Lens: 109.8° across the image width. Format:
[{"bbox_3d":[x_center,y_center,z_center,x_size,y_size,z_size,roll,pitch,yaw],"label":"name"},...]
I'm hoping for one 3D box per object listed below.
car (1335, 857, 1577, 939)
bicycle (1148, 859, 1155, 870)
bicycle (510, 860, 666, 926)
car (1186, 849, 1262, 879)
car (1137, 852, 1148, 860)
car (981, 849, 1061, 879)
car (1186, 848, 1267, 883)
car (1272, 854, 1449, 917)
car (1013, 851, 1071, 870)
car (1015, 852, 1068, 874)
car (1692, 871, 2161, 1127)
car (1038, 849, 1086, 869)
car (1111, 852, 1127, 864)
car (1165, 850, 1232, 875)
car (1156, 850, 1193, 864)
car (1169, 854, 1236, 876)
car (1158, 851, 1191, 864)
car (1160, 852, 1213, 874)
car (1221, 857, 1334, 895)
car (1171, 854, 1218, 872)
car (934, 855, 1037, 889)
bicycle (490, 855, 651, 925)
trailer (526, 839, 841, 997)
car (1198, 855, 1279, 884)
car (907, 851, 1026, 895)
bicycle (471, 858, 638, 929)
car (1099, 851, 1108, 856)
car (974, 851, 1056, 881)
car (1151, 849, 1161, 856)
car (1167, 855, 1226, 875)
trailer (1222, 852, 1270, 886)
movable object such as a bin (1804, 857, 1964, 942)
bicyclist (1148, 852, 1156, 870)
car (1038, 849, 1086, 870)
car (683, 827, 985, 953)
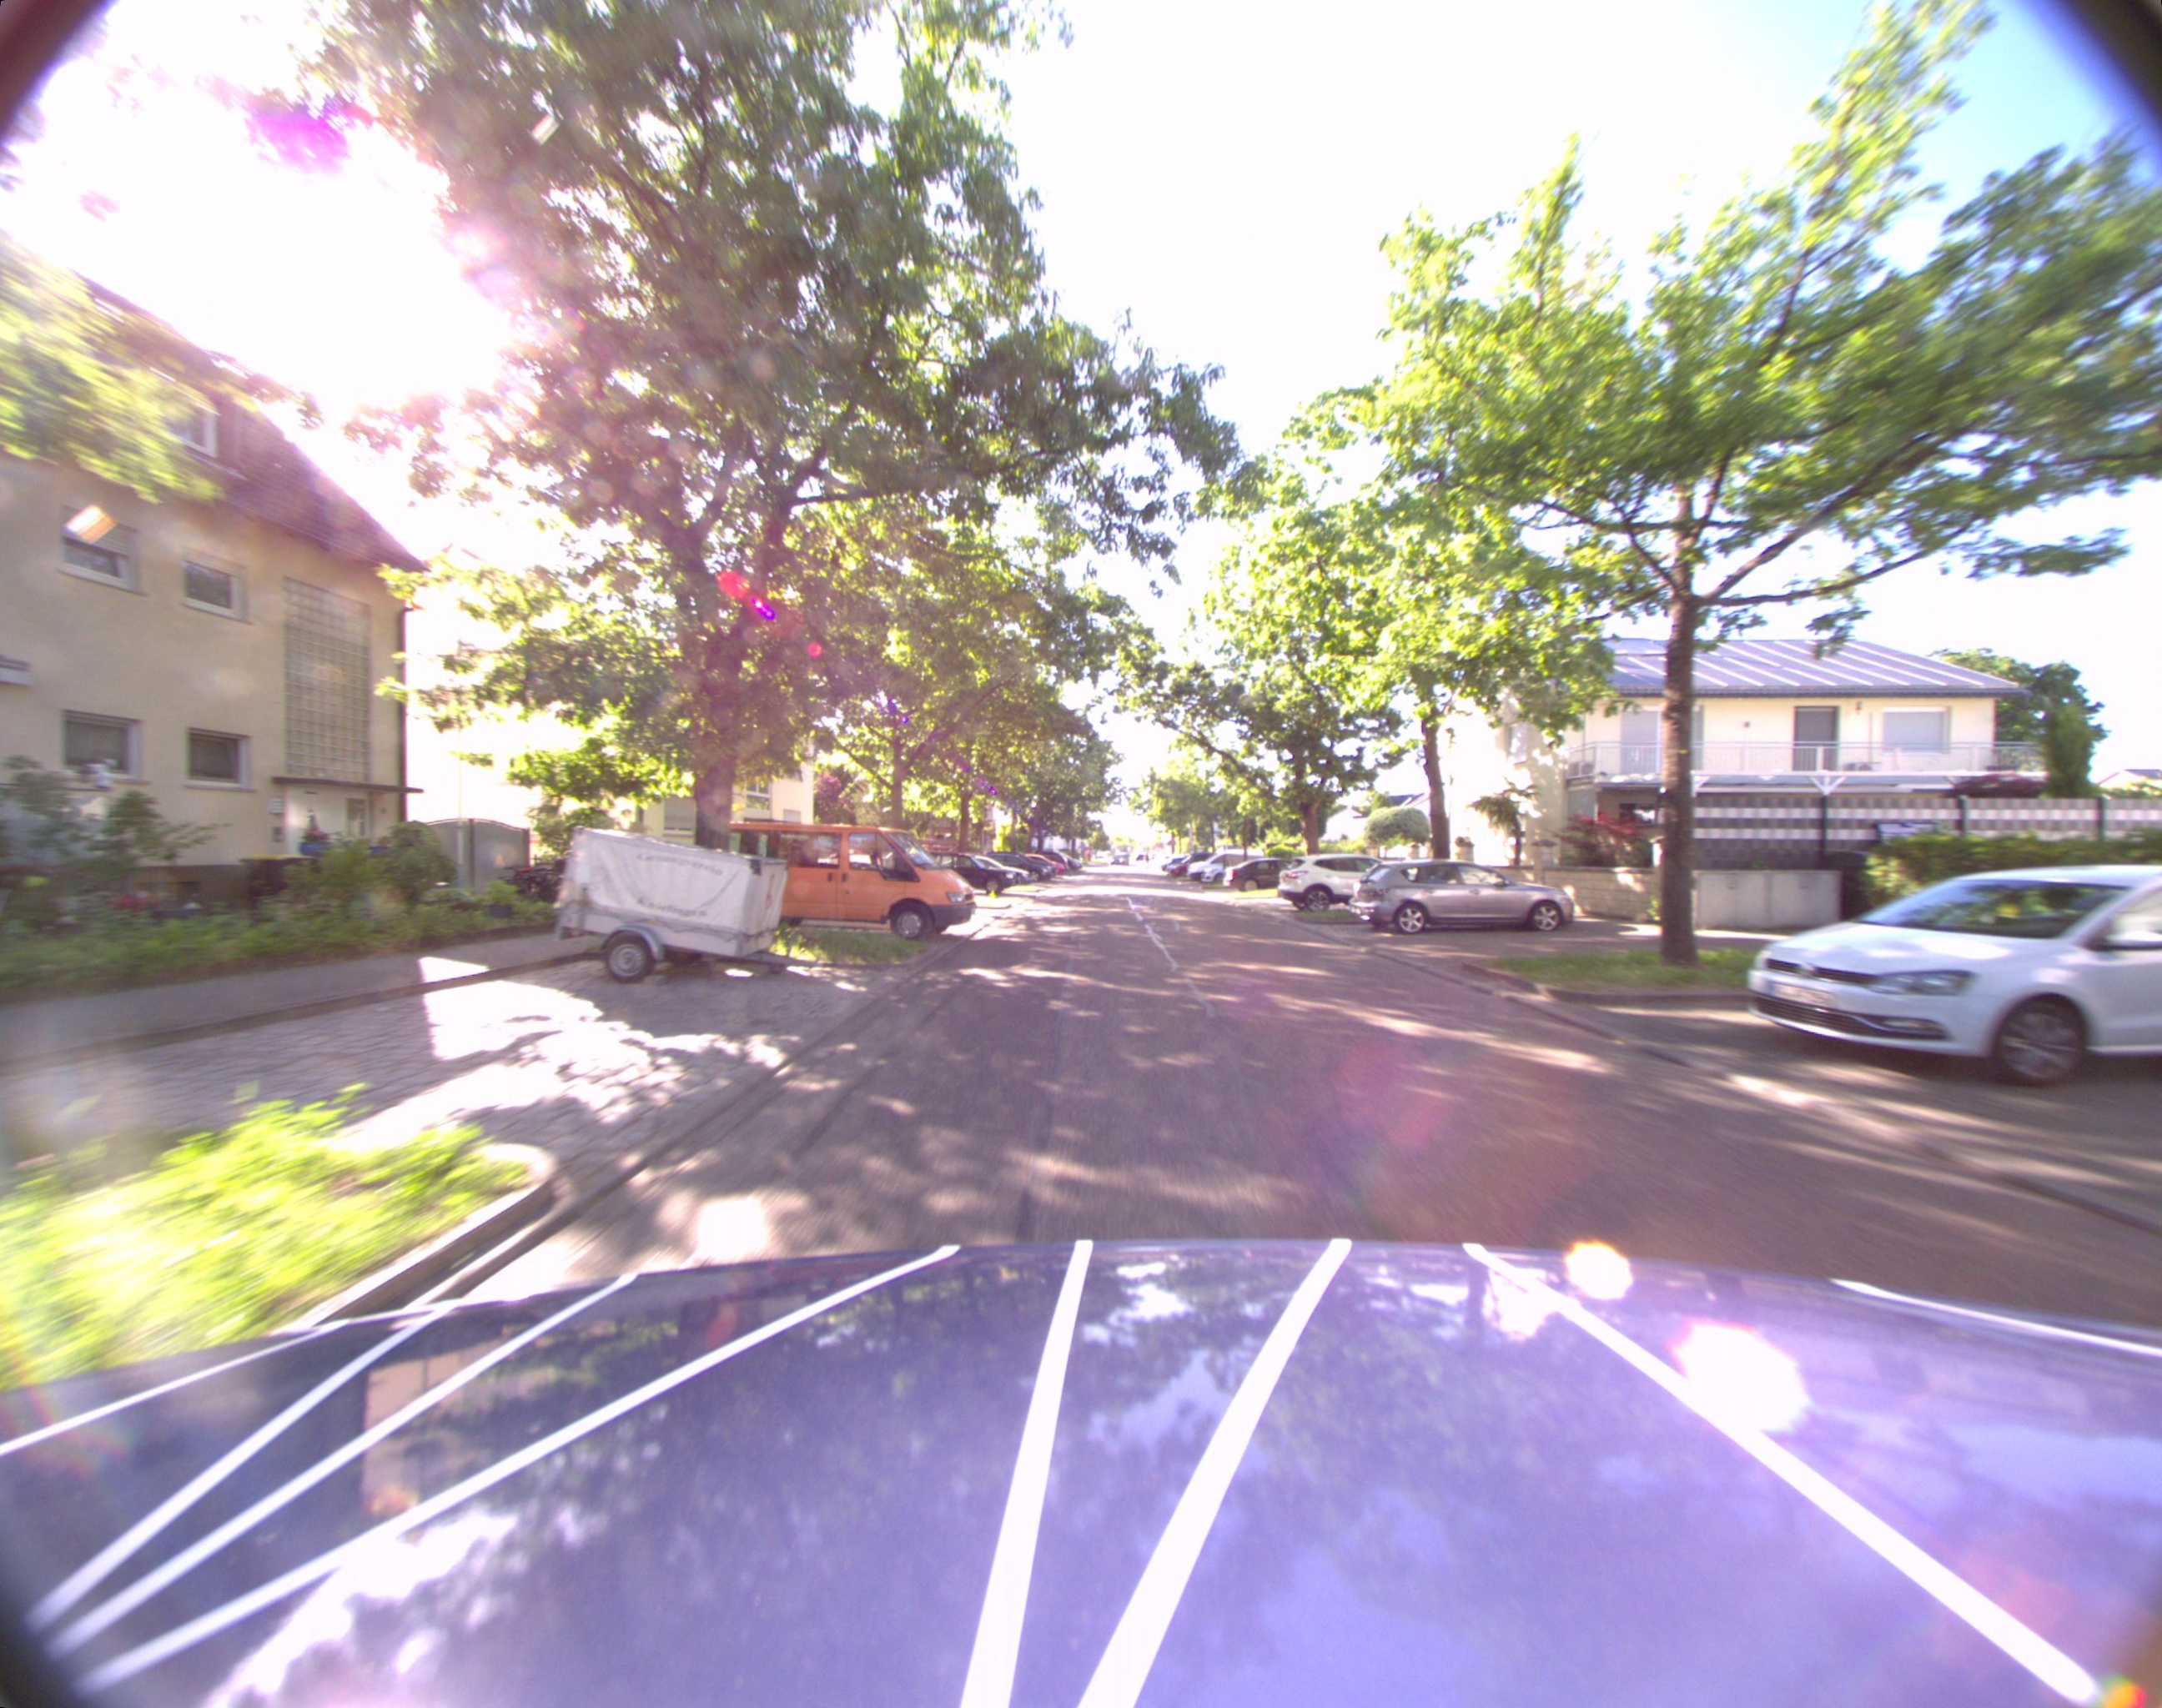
[{"bbox_3d":[7.552,0.854,15.580,4.044,1.415,1.810,-2,1,0],"label":"car"},{"bbox_3d":[6.766,1.000,72.819,0.598,1.052,1.986,3,1,3],"label":"bicycle"},{"bbox_3d":[-9.917,0.775,15.306,2.865,1.230,0.468,2,2,2],"label":"bicycle"},{"bbox_3d":[8.730,0.604,46.656,4.249,1.760,1.967,-1,1,-1],"label":"car"},{"bbox_3d":[11.532,0.343,142.687,1.741,1.532,3.949,1,0,8],"label":"car"},{"bbox_3d":[-3.552,0.596,45.529,4.584,1.637,1.838,2,1,2],"label":"car"},{"bbox_3d":[8.306,0.655,43.772,4.247,1.933,2.000,1,1,-1],"label":"car"},{"bbox_3d":[7.570,0.823,20.868,4.197,1.558,1.792,-1,0,3],"label":"car"},{"bbox_3d":[-3.148,0.526,61.753,4.513,1.437,1.838,2,1,3],"label":"car"},{"bbox_3d":[-2.923,0.637,57.073,3.786,1.476,1.755,2,2,3],"label":"car"},{"bbox_3d":[7.474,0.982,5.847,3.996,1.586,1.857,1,1,1],"label":"car"},{"bbox_3d":[-1.827,0.446,73.717,4.513,1.670,1.879,3,1,2],"label":"car"},{"bbox_3d":[4.850,0.497,97.327,1.877,1.469,3.852,1,0,5],"label":"car"},{"bbox_3d":[8.655,0.624,56.119,4.684,1.758,1.795,-1,0,2],"label":"car"},{"bbox_3d":[10.776,0.320,88.020,3.964,1.565,1.921,-1,2,-3],"label":"car"},{"bbox_3d":[8.515,0.791,53.601,4.487,1.491,1.837,0,1,3],"label":"car"},{"bbox_3d":[10.590,0.410,85.888,3.522,1.487,1.708,0,0,1],"label":"car"},{"bbox_3d":[8.734,0.767,63.383,4.219,1.714,1.761,-1,1,3],"label":"car"},{"bbox_3d":[7.974,0.882,31.062,4.219,1.463,1.691,0,1,4],"label":"car"},{"bbox_3d":[10.073,0.781,67.708,4.010,1.506,1.796,1,0,4],"label":"car"},{"bbox_3d":[-4.383,0.810,35.194,4.437,1.323,1.691,2,1,4],"label":"car"},{"bbox_3d":[-9.935,0.693,14.816,2.865,1.230,0.468,2,2,2],"label":"bicycle"},{"bbox_3d":[-4.639,0.711,9.221,2.954,1.654,1.614,2,1,-5],"label":"trailer"},{"bbox_3d":[8.495,0.849,41.150,3.997,1.507,1.690,0,1,-1],"label":"car"},{"bbox_3d":[-4.447,0.717,30.020,4.348,1.551,1.867,1,1,1],"label":"car"},{"bbox_3d":[-9.904,0.725,14.319,2.865,1.230,0.468,2,1,2],"label":"bicycle"},{"bbox_3d":[5.595,-0.127,189.675,1.943,1.412,4.001,0,1,5],"label":"car"},{"bbox_3d":[-3.649,0.651,42.582,4.330,1.521,1.841,2,0,1],"label":"car"},{"bbox_3d":[15.747,-0.314,159.950,1.765,1.390,3.851,2,0,3],"label":"car"},{"bbox_3d":[8.952,0.845,59.093,4.283,1.416,1.723,-1,0,-1],"label":"car"},{"bbox_3d":[8.408,0.759,38.865,2.240,1.664,1.475,0,0,6],"label":"trailer"},{"bbox_3d":[14.471,0.785,13.760,1.499,1.426,1.275,0,2,1],"label":"movable object such as a bin"},{"bbox_3d":[6.784,0.628,72.757,0.597,1.664,0.975,3,1,3],"label":"bicyclist"},{"bbox_3d":[-1.750,0.470,70.687,4.221,1.771,1.789,2,1,3],"label":"car"},{"bbox_3d":[-4.337,0.602,13.962,4.830,2.071,2.086,1,1,1],"label":"car"}]
